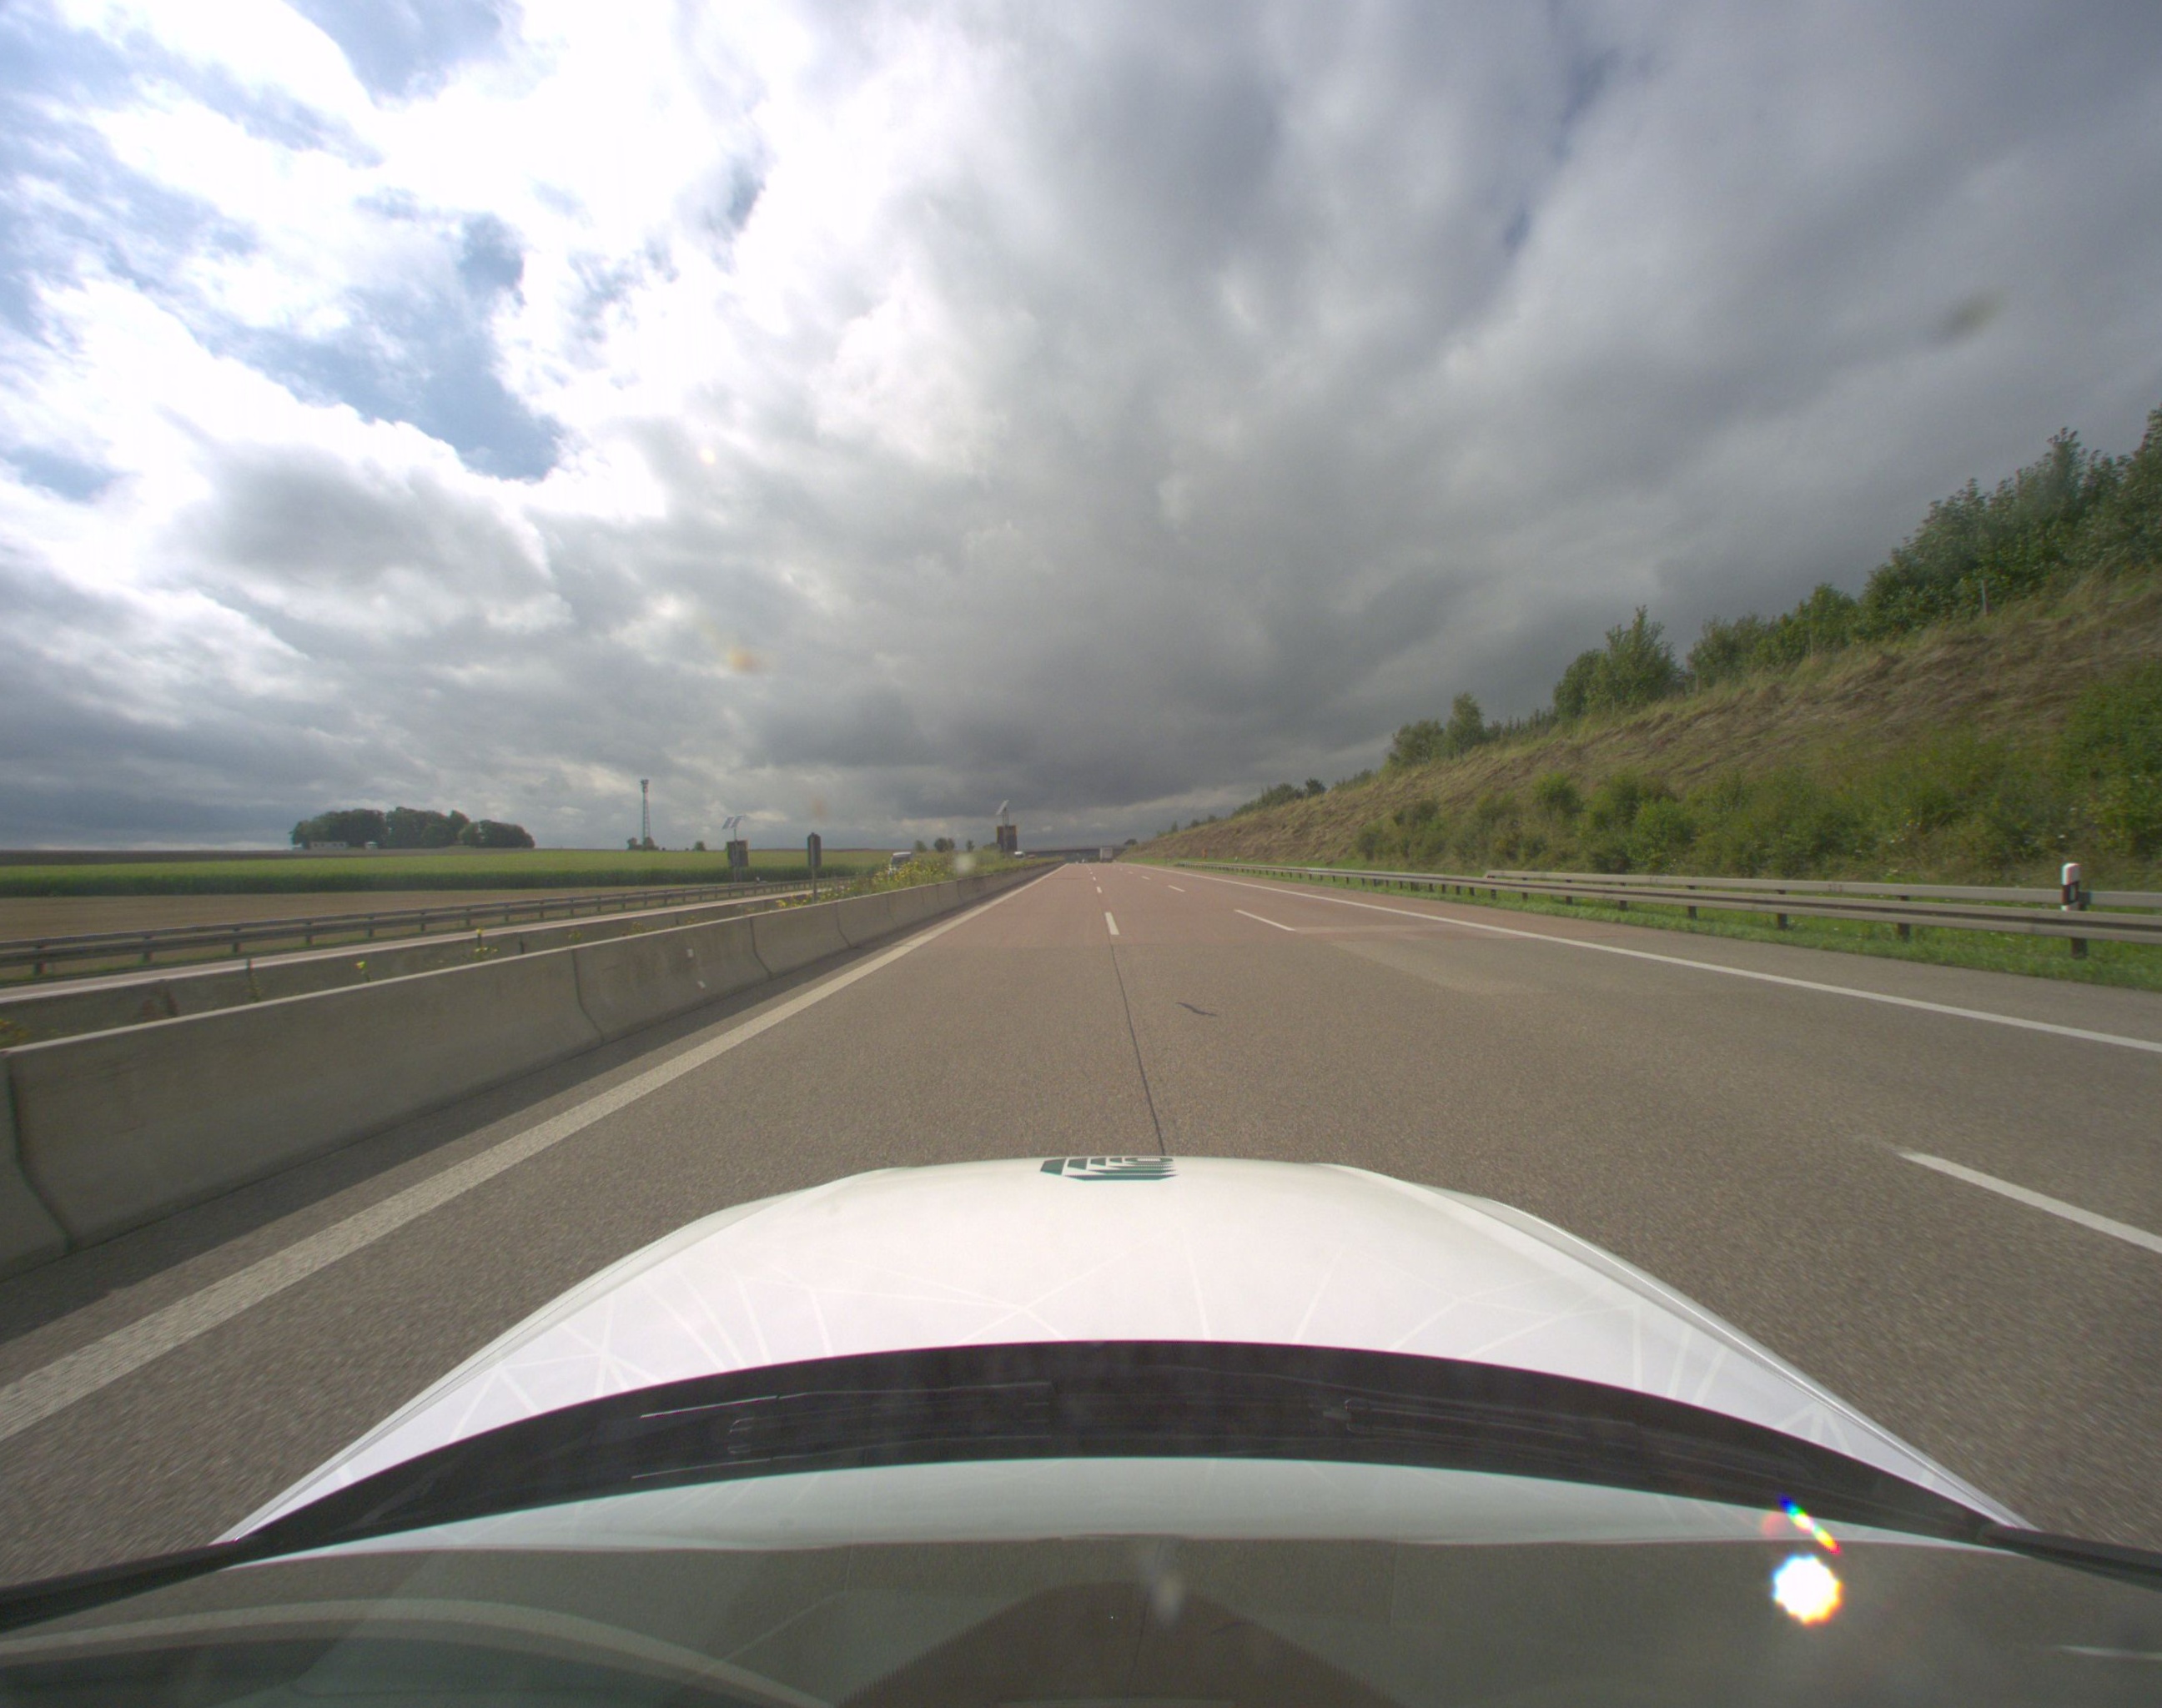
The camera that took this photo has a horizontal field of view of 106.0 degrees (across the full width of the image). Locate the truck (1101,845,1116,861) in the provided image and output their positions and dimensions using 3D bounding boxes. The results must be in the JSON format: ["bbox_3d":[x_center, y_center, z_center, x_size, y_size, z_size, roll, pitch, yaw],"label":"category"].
[{"bbox_3d":[6.927,-0.354,204.286,3.604,3.945,11.176,0,0,1],"label":"truck"}]

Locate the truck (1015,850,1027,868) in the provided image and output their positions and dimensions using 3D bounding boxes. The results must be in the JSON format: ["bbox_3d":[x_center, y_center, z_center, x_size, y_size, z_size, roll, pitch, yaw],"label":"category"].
[{"bbox_3d":[-17.065,1.272,232.913,2.982,5.065,10.978,0,0,-1],"label":"truck"}]

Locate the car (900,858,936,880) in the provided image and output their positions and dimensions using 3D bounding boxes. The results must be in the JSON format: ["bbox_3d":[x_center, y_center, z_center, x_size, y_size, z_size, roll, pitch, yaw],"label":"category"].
[{"bbox_3d":[-15.666,1.434,78.595,2.049,1.913,5.705,-3,0,1],"label":"car"}]
